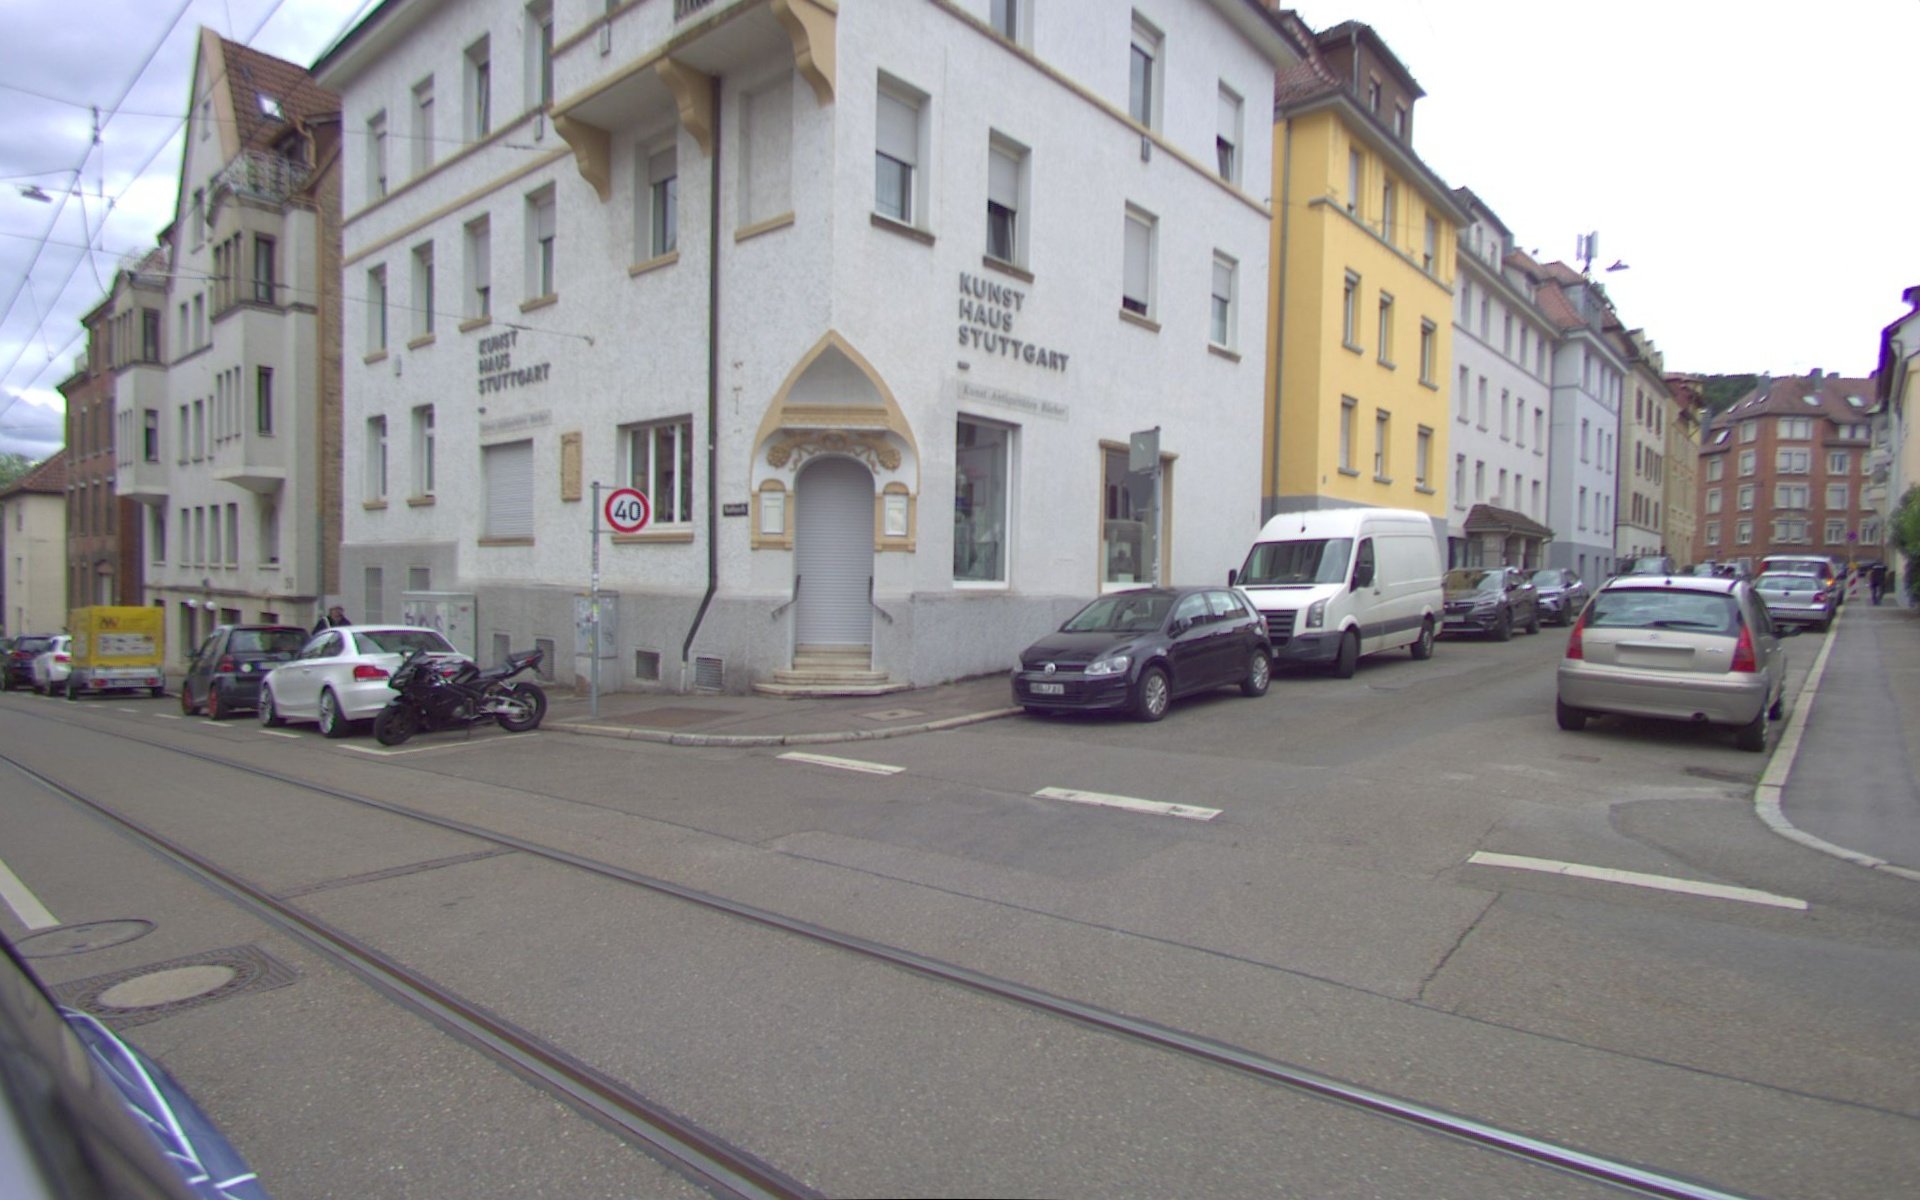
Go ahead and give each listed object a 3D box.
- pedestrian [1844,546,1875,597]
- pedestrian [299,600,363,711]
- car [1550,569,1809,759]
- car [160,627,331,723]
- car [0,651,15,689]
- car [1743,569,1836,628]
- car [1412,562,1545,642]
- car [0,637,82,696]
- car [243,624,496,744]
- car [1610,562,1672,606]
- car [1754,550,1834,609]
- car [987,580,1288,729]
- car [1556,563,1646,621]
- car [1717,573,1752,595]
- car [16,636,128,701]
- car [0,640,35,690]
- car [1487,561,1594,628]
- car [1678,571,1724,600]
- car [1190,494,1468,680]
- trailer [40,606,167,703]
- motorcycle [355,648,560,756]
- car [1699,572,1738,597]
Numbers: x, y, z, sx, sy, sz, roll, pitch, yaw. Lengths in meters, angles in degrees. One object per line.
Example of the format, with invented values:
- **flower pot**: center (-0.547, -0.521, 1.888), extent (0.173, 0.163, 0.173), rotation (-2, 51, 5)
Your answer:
- **pedestrian**: center (36.771, -1.149, 41.396), extent (0.883, 2.029, 1.148), rotation (-2, -1, 41)
- **pedestrian**: center (-11.368, 0.988, 18.300), extent (0.810, 1.919, 0.583), rotation (-2, 4, 40)
- **car**: center (7.375, 0.471, 10.251), extent (1.777, 1.503, 3.478), rotation (4, 4, 40)
- **car**: center (-12.201, 1.238, 17.248), extent (3.021, 1.480, 1.679), rotation (-3, -4, 41)
- **car**: center (-39.233, 2.789, 40.319), extent (4.836, 1.440, 1.808), rotation (-3, -4, 41)
- **car**: center (20.998, -0.086, 25.607), extent (1.707, 1.362, 3.640), rotation (1, 2, 40)
- **car**: center (11.788, 0.013, 22.881), extent (1.822, 1.636, 4.057), rotation (-3, 0, 39)
- **car**: center (-28.862, 2.047, 31.321), extent (4.888, 1.677, 1.854), rotation (-3, -4, 41)
- **car**: center (-8.216, 1.070, 13.918), extent (4.290, 1.368, 1.761), rotation (-3, -2, 42)
- **car**: center (26.427, -0.619, 39.212), extent (1.621, 1.571, 3.616), rotation (-3, 0, 39)
- **car**: center (25.543, -0.638, 30.972), extent (1.776, 1.688, 3.838), rotation (1, 2, 40)
- **car**: center (2.280, 0.544, 12.280), extent (1.753, 1.475, 3.945), rotation (-2, 0, 42)
- **car**: center (19.800, -0.266, 31.177), extent (1.822, 1.636, 4.057), rotation (-3, 0, 39)
- **car**: center (49.284, -1.028, 64.398), extent (1.621, 1.271, 3.616), rotation (-3, 0, 39)
- **car**: center (-24.024, 1.830, 27.344), extent (4.265, 1.606, 1.679), rotation (-3, -4, 41)
- **car**: center (-34.986, 2.350, 36.484), extent (4.910, 1.731, 1.808), rotation (-3, -4, 41)
- **car**: center (15.816, -0.178, 27.476), extent (1.822, 1.636, 4.057), rotation (-3, 0, 39)
- **car**: center (39.491, -0.765, 53.897), extent (1.622, 1.402, 3.614), rotation (-3, 0, 42)
- **car**: center (6.376, -0.223, 16.913), extent (2.191, 2.551, 6.127), rotation (-2, 0, 42)
- **trailer**: center (-20.953, 1.343, 24.711), extent (4.068, 2.172, 1.730), rotation (-3, -4, 41)
- **motorcycle**: center (-5.925, 1.163, 12.001), extent (2.080, 1.143, 0.768), rotation (1, -3, -36)
- **car**: center (43.840, -0.906, 58.493), extent (1.621, 1.271, 3.616), rotation (-3, 0, 39)
